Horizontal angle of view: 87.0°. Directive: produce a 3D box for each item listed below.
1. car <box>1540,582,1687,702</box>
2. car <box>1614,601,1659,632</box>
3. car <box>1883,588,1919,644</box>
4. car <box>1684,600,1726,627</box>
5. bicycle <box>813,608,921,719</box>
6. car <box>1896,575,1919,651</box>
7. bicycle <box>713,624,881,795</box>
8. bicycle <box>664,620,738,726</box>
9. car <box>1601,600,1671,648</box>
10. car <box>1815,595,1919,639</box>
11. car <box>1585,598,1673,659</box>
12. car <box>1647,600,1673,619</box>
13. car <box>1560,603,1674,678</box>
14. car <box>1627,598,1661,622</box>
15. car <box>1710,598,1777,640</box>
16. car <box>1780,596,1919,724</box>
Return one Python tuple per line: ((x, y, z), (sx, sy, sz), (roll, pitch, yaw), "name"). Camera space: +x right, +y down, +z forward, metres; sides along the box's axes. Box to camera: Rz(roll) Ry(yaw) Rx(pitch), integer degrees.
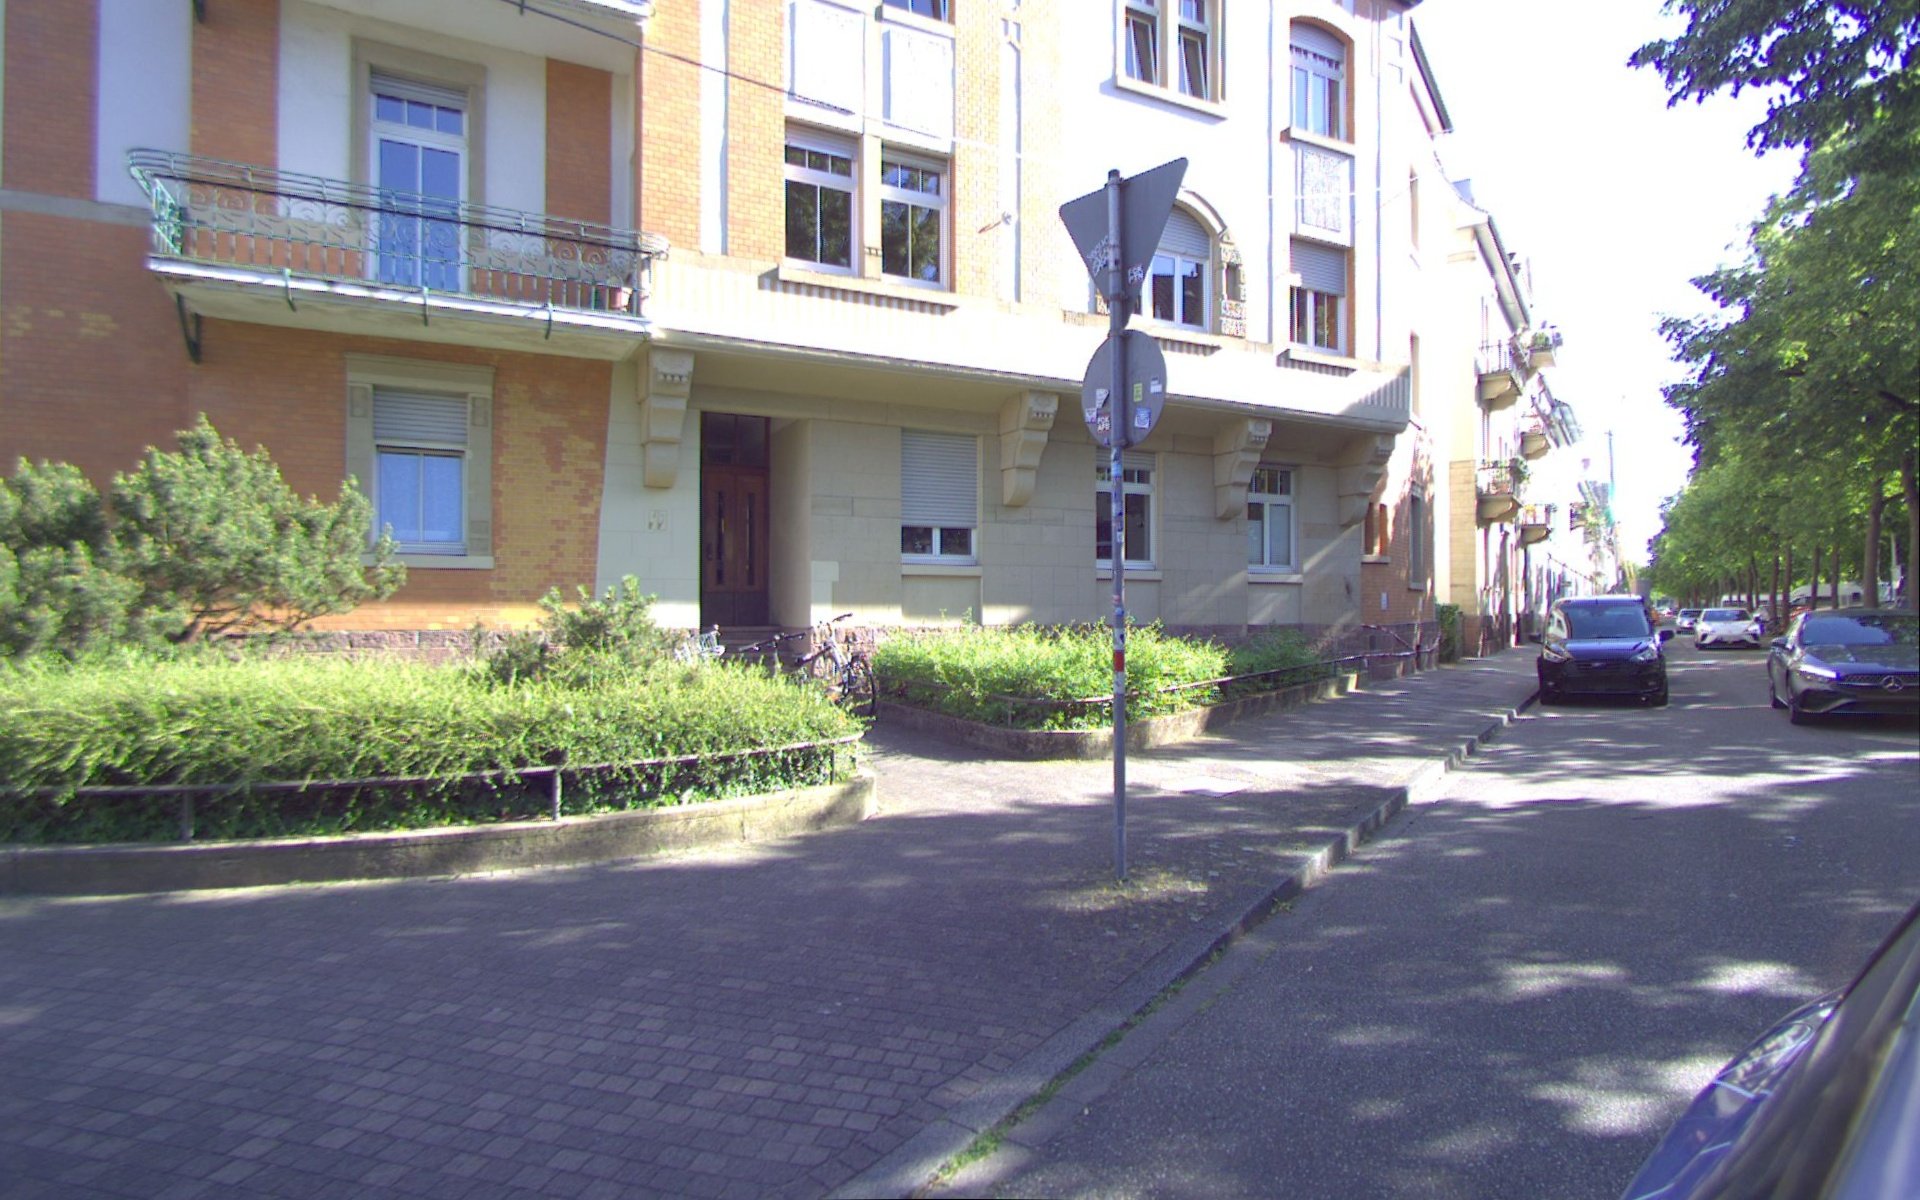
((11.271, 0.676, 17.337), (1.787, 1.790, 4.153), (-3, -3, 36), "car")
((36.940, 0.887, 55.219), (1.787, 1.576, 4.153), (-3, -3, 36), "car")
((29.809, 0.477, 29.435), (1.785, 1.654, 4.008), (0, 0, -16), "car")
((44.014, 0.796, 59.834), (1.786, 1.454, 4.156), (-4, -3, 35), "car")
((-1.163, 0.718, 12.282), (0.583, 1.227, 1.801), (1, 0, -31), "bicycle")
((25.690, 0.316, 24.557), (1.785, 1.922, 4.008), (0, -1, -16), "car")
((-1.356, 0.787, 8.093), (0.674, 1.135, 1.945), (1, 0, -30), "bicycle")
((-2.974, 0.787, 11.536), (0.490, 1.085, 1.677), (1, 0, -26), "bicycle")
((23.894, 0.839, 35.717), (1.787, 1.576, 4.153), (-3, -3, 36), "car")
((37.227, 0.655, 40.662), (1.787, 1.708, 4.004), (0, -1, -30), "car")
((19.064, 0.802, 28.771), (1.787, 1.576, 4.153), (-3, -3, 36), "car")
((62.865, 0.871, 90.870), (1.787, 1.576, 4.153), (-3, -3, 36), "car")
((14.444, 0.851, 22.167), (1.787, 1.472, 4.153), (-3, -3, 36), "car")
((48.511, 0.720, 71.725), (1.787, 1.576, 4.153), (-3, -3, 36), "car")
((28.284, 0.682, 36.638), (1.787, 1.453, 4.152), (-2, -2, 37), "car")
((12.091, 0.702, 13.330), (1.787, 1.453, 4.152), (-2, -2, 37), "car")
